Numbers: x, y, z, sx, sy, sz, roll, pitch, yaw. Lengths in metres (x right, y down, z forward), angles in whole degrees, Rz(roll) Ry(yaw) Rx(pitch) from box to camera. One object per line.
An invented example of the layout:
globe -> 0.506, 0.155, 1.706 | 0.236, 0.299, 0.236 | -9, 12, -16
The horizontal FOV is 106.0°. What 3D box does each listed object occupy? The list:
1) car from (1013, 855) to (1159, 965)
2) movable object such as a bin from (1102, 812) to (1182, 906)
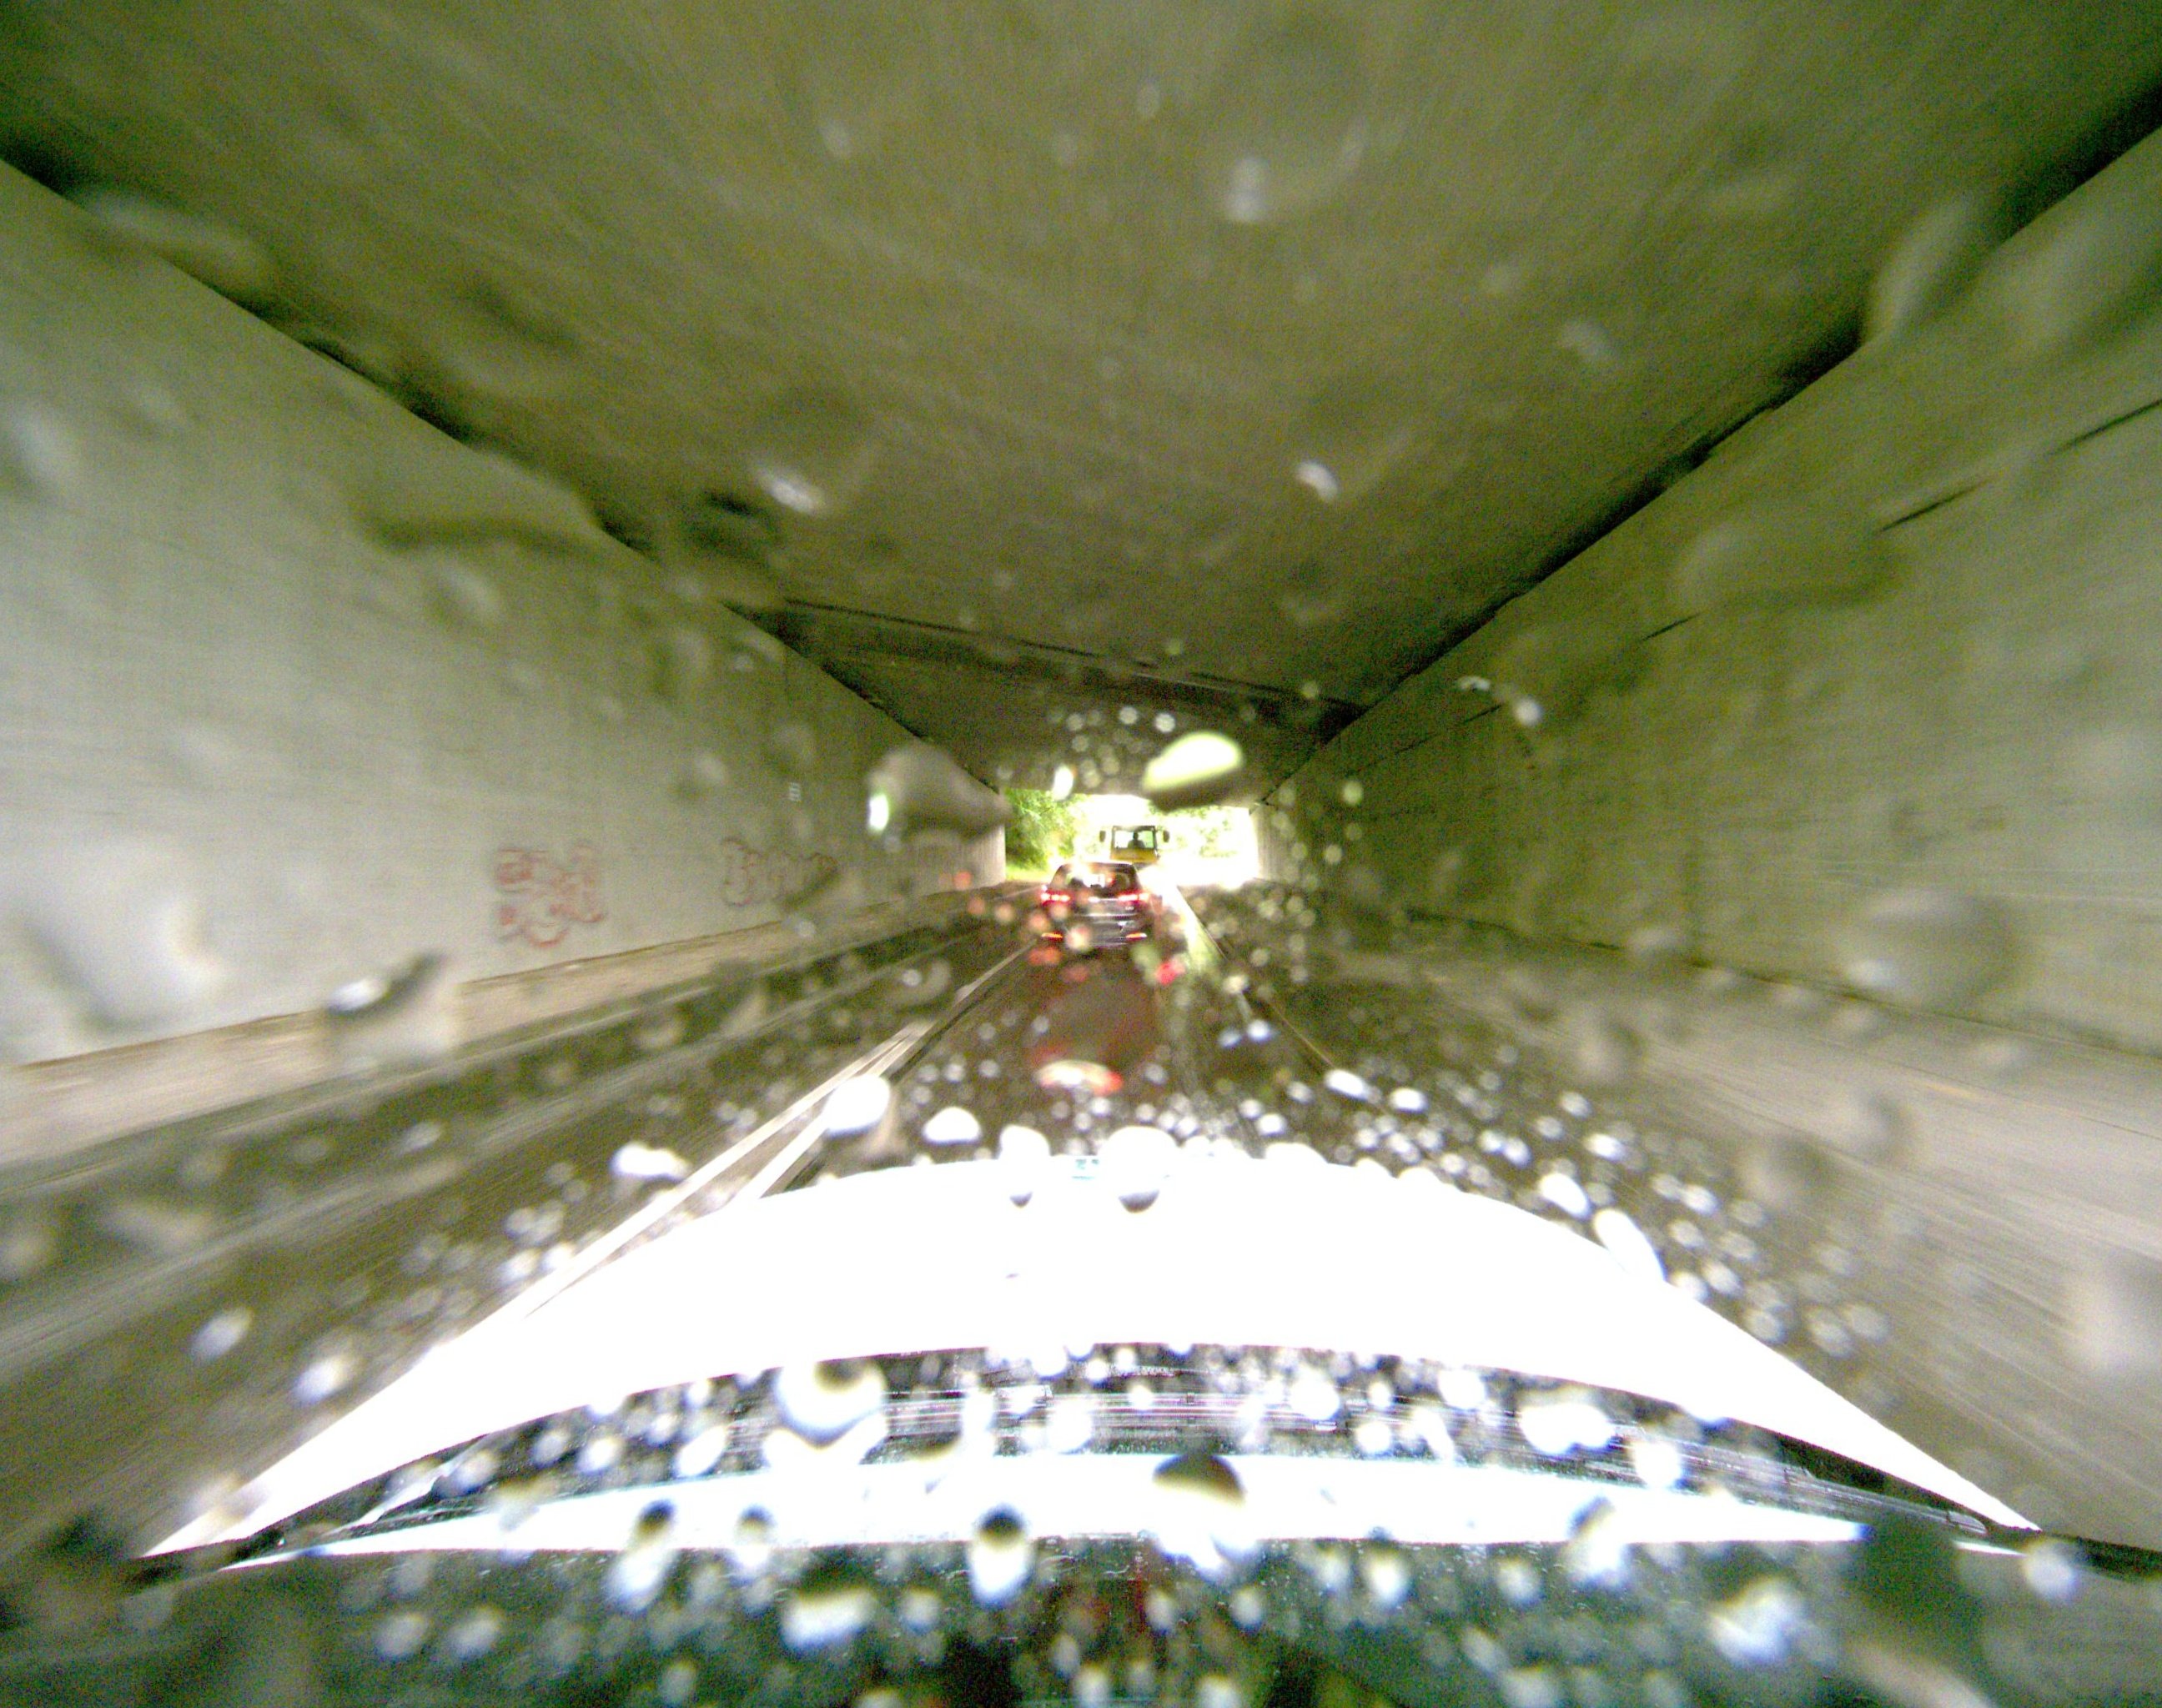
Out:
car -> 0.132, 0.767, 13.114 | 1.986, 1.487, 4.002 | 1, 0, 2
movable object such as a bin -> 1.985, 0.160, 26.656 | 2.236, 2.669, 6.633 | 1, 0, 4
